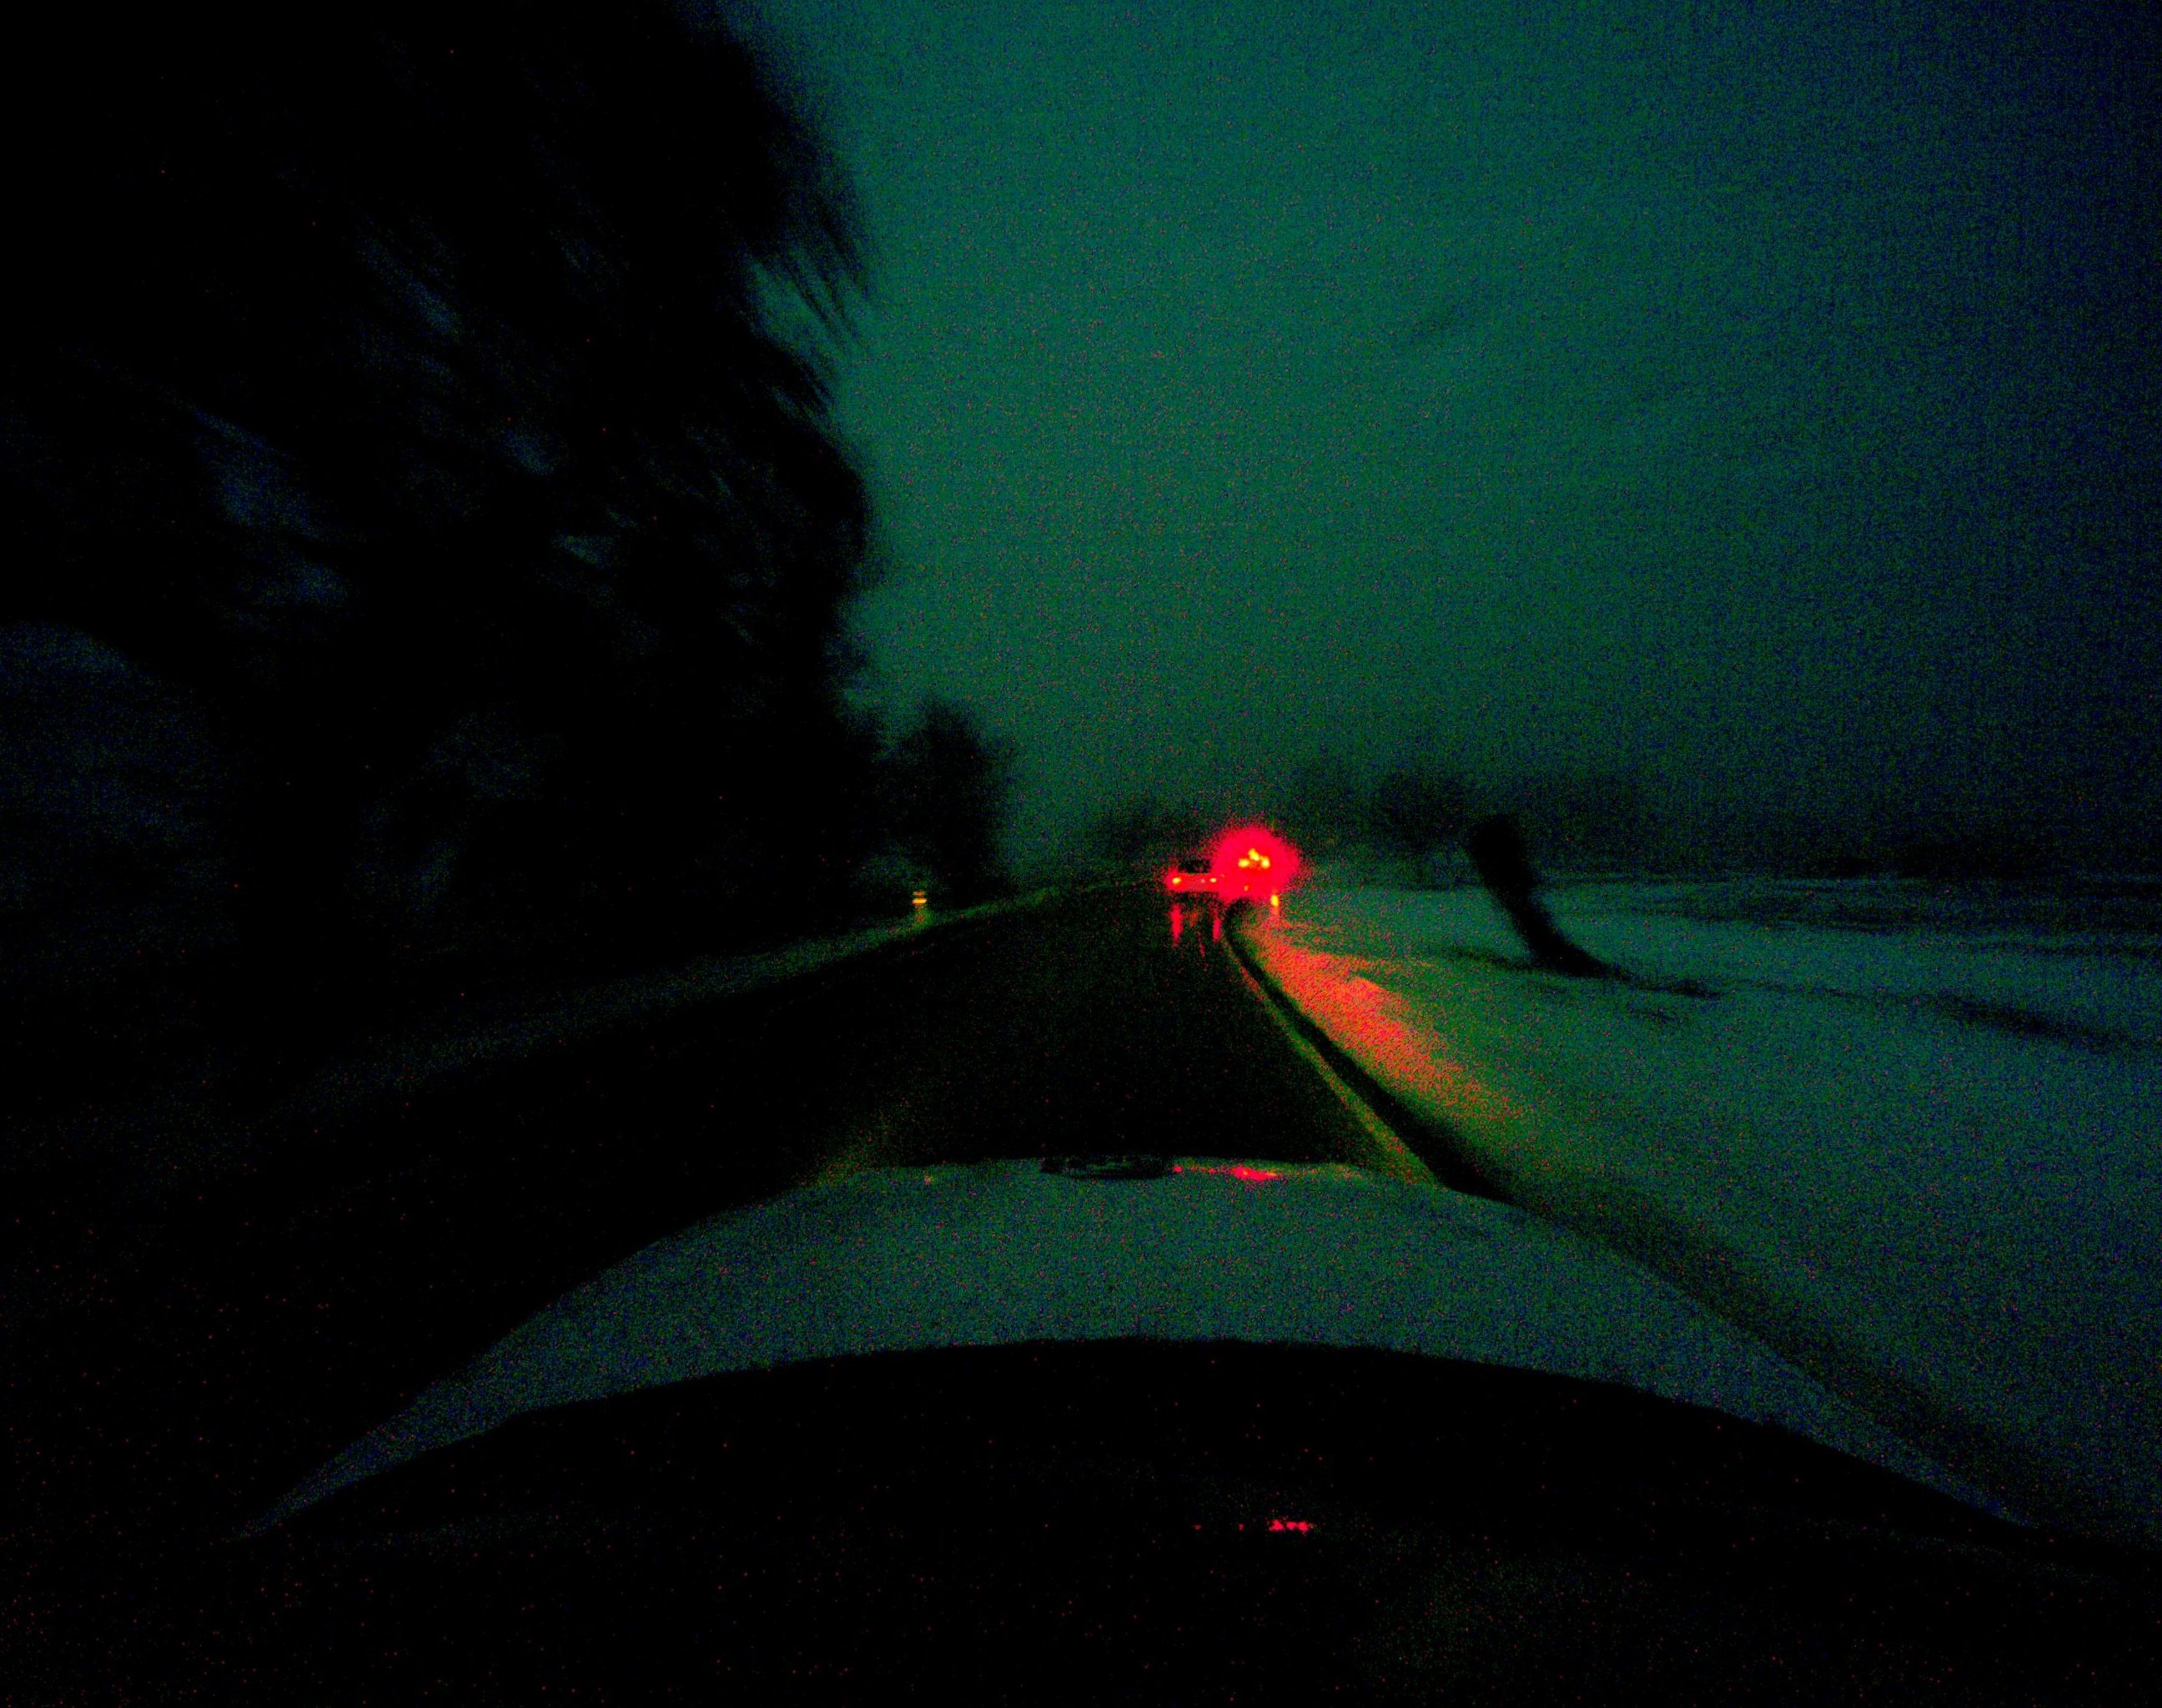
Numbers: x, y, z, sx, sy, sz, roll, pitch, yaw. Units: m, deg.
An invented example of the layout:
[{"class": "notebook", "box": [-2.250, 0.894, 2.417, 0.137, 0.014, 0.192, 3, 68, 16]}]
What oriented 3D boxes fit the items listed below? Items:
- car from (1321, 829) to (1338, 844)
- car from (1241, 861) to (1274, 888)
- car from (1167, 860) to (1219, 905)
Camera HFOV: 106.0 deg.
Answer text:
[{"class": "car", "box": [27.741, -1.940, 90.788, 1.509, 1.508, 3.068, -2, -1, 21]}, {"class": "car", "box": [10.674, 1.215, 49.229, 1.466, 1.508, 3.069, -2, -1, 21]}, {"class": "car", "box": [4.070, 0.961, 29.199, 1.697, 1.463, 4.010, 1, 0, 9]}]
